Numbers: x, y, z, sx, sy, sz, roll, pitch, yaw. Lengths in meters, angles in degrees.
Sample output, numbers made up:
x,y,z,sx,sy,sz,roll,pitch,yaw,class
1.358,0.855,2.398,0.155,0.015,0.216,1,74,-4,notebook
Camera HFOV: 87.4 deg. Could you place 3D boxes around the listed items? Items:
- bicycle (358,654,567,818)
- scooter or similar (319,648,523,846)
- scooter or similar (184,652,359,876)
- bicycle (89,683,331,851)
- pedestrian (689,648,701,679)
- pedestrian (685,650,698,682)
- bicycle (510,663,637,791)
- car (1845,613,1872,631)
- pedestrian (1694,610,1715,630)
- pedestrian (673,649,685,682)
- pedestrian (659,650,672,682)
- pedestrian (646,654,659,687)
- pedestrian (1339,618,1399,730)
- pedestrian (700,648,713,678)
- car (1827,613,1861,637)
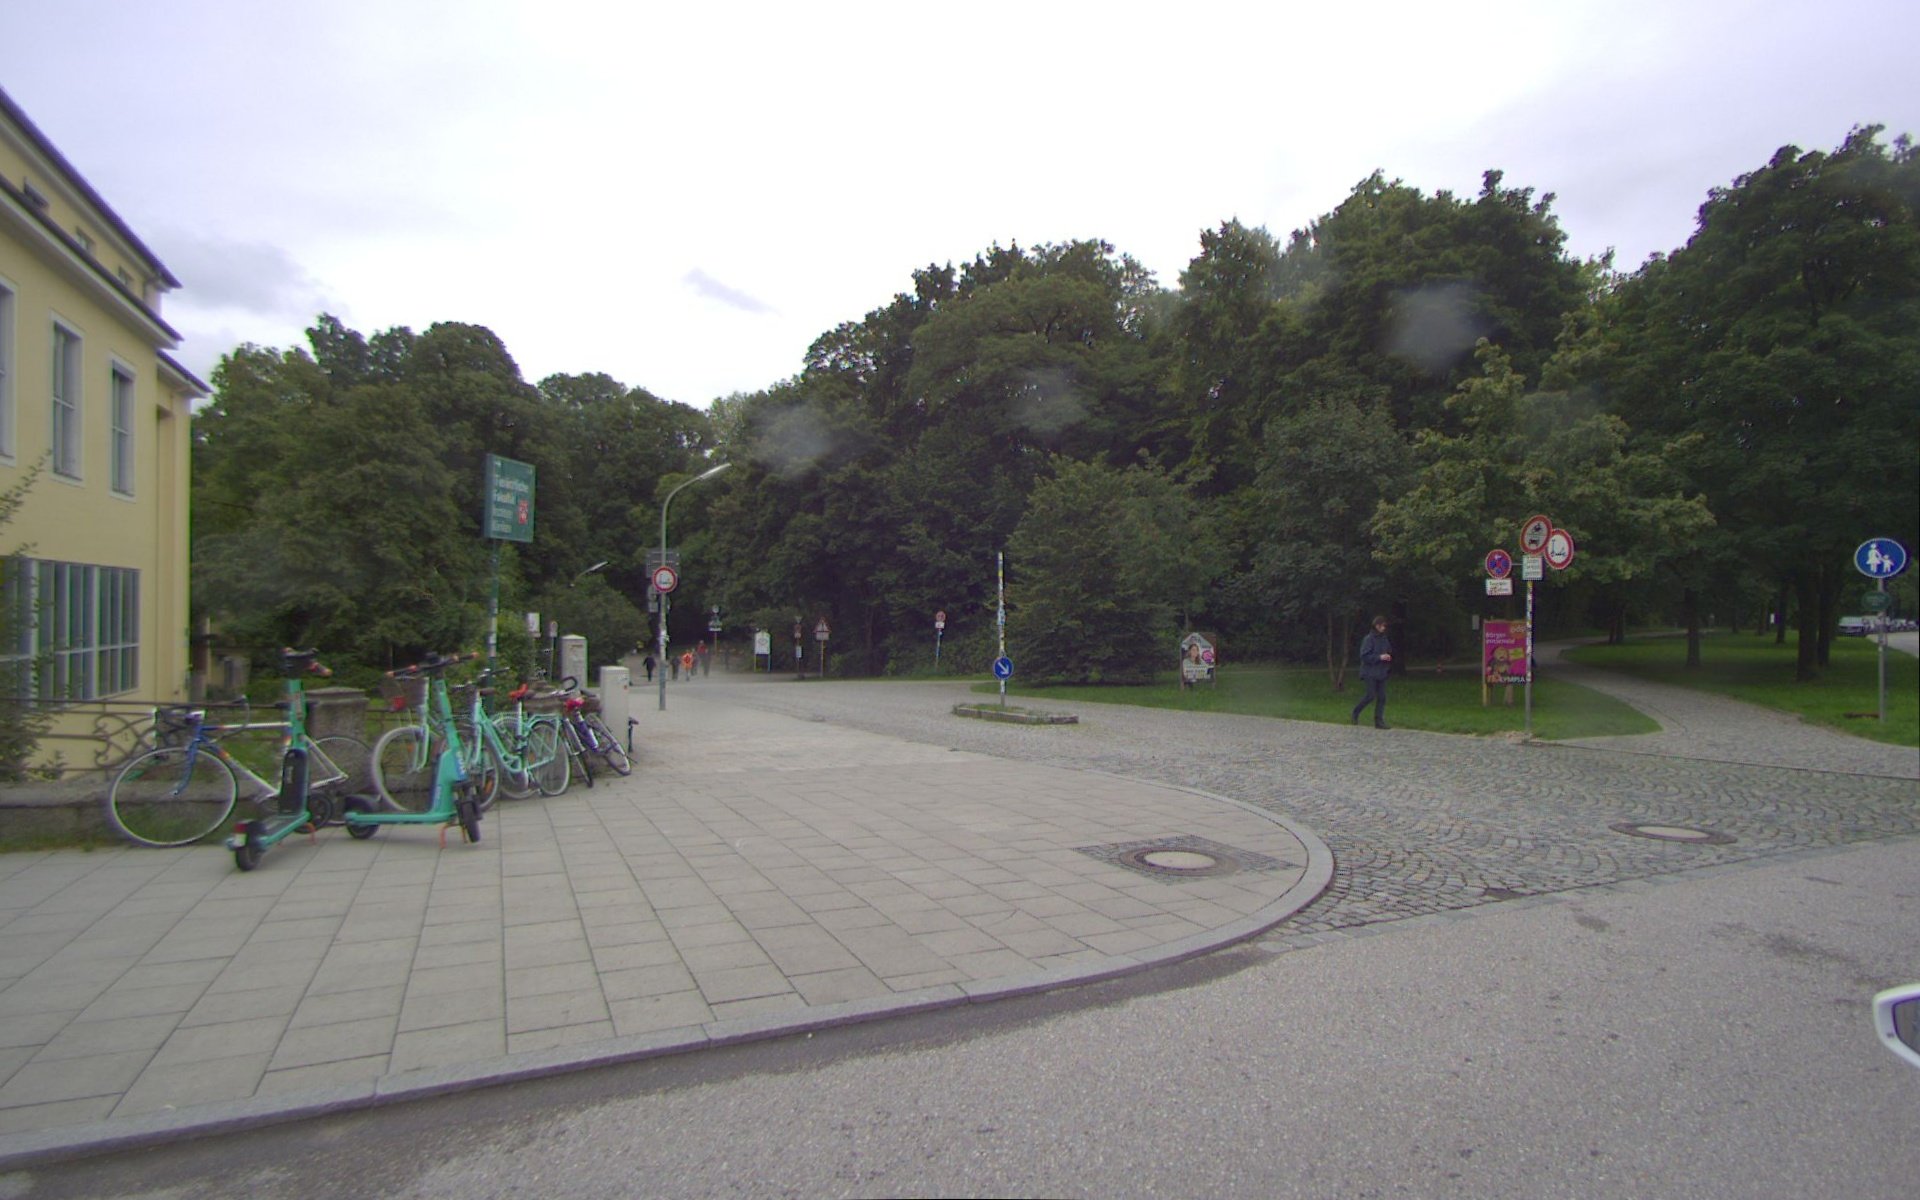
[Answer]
x,y,z,sx,sy,sz,roll,pitch,yaw,class
-4.020,1.050,8.242,0.641,1.149,1.501,1,-1,20,bicycle
-3.568,0.940,6.671,1.158,1.235,0.447,0,-3,13,scooter or similar
-4.221,0.948,6.245,0.593,1.235,1.176,1,-3,-21,scooter or similar
-4.912,1.050,6.629,0.464,0.935,1.199,0,-1,40,bicycle
-15.394,3.667,58.310,0.590,1.768,0.809,1,-2,-21,pedestrian
-14.767,3.625,55.294,0.590,1.768,0.809,1,-2,-21,pedestrian
-3.776,1.216,9.964,0.641,1.148,1.738,1,-5,-4,bicycle
94.944,2.329,106.151,1.971,1.862,3.981,-2,-2,40,car
73.026,1.992,98.575,1.300,1.971,1.036,0,-1,9,pedestrian
-15.645,3.634,55.949,0.590,1.768,0.809,1,-2,-21,pedestrian
-16.277,3.630,55.472,0.590,1.768,0.809,1,-2,-21,pedestrian
-16.913,3.887,55.240,0.590,1.768,0.809,1,-2,-21,pedestrian
6.710,1.195,16.490,0.655,1.775,0.722,2,-1,-45,pedestrian
-14.786,3.669,58.597,0.590,1.768,0.809,1,-2,-21,pedestrian
72.291,2.058,82.154,1.971,1.862,3.981,-2,-2,40,car
